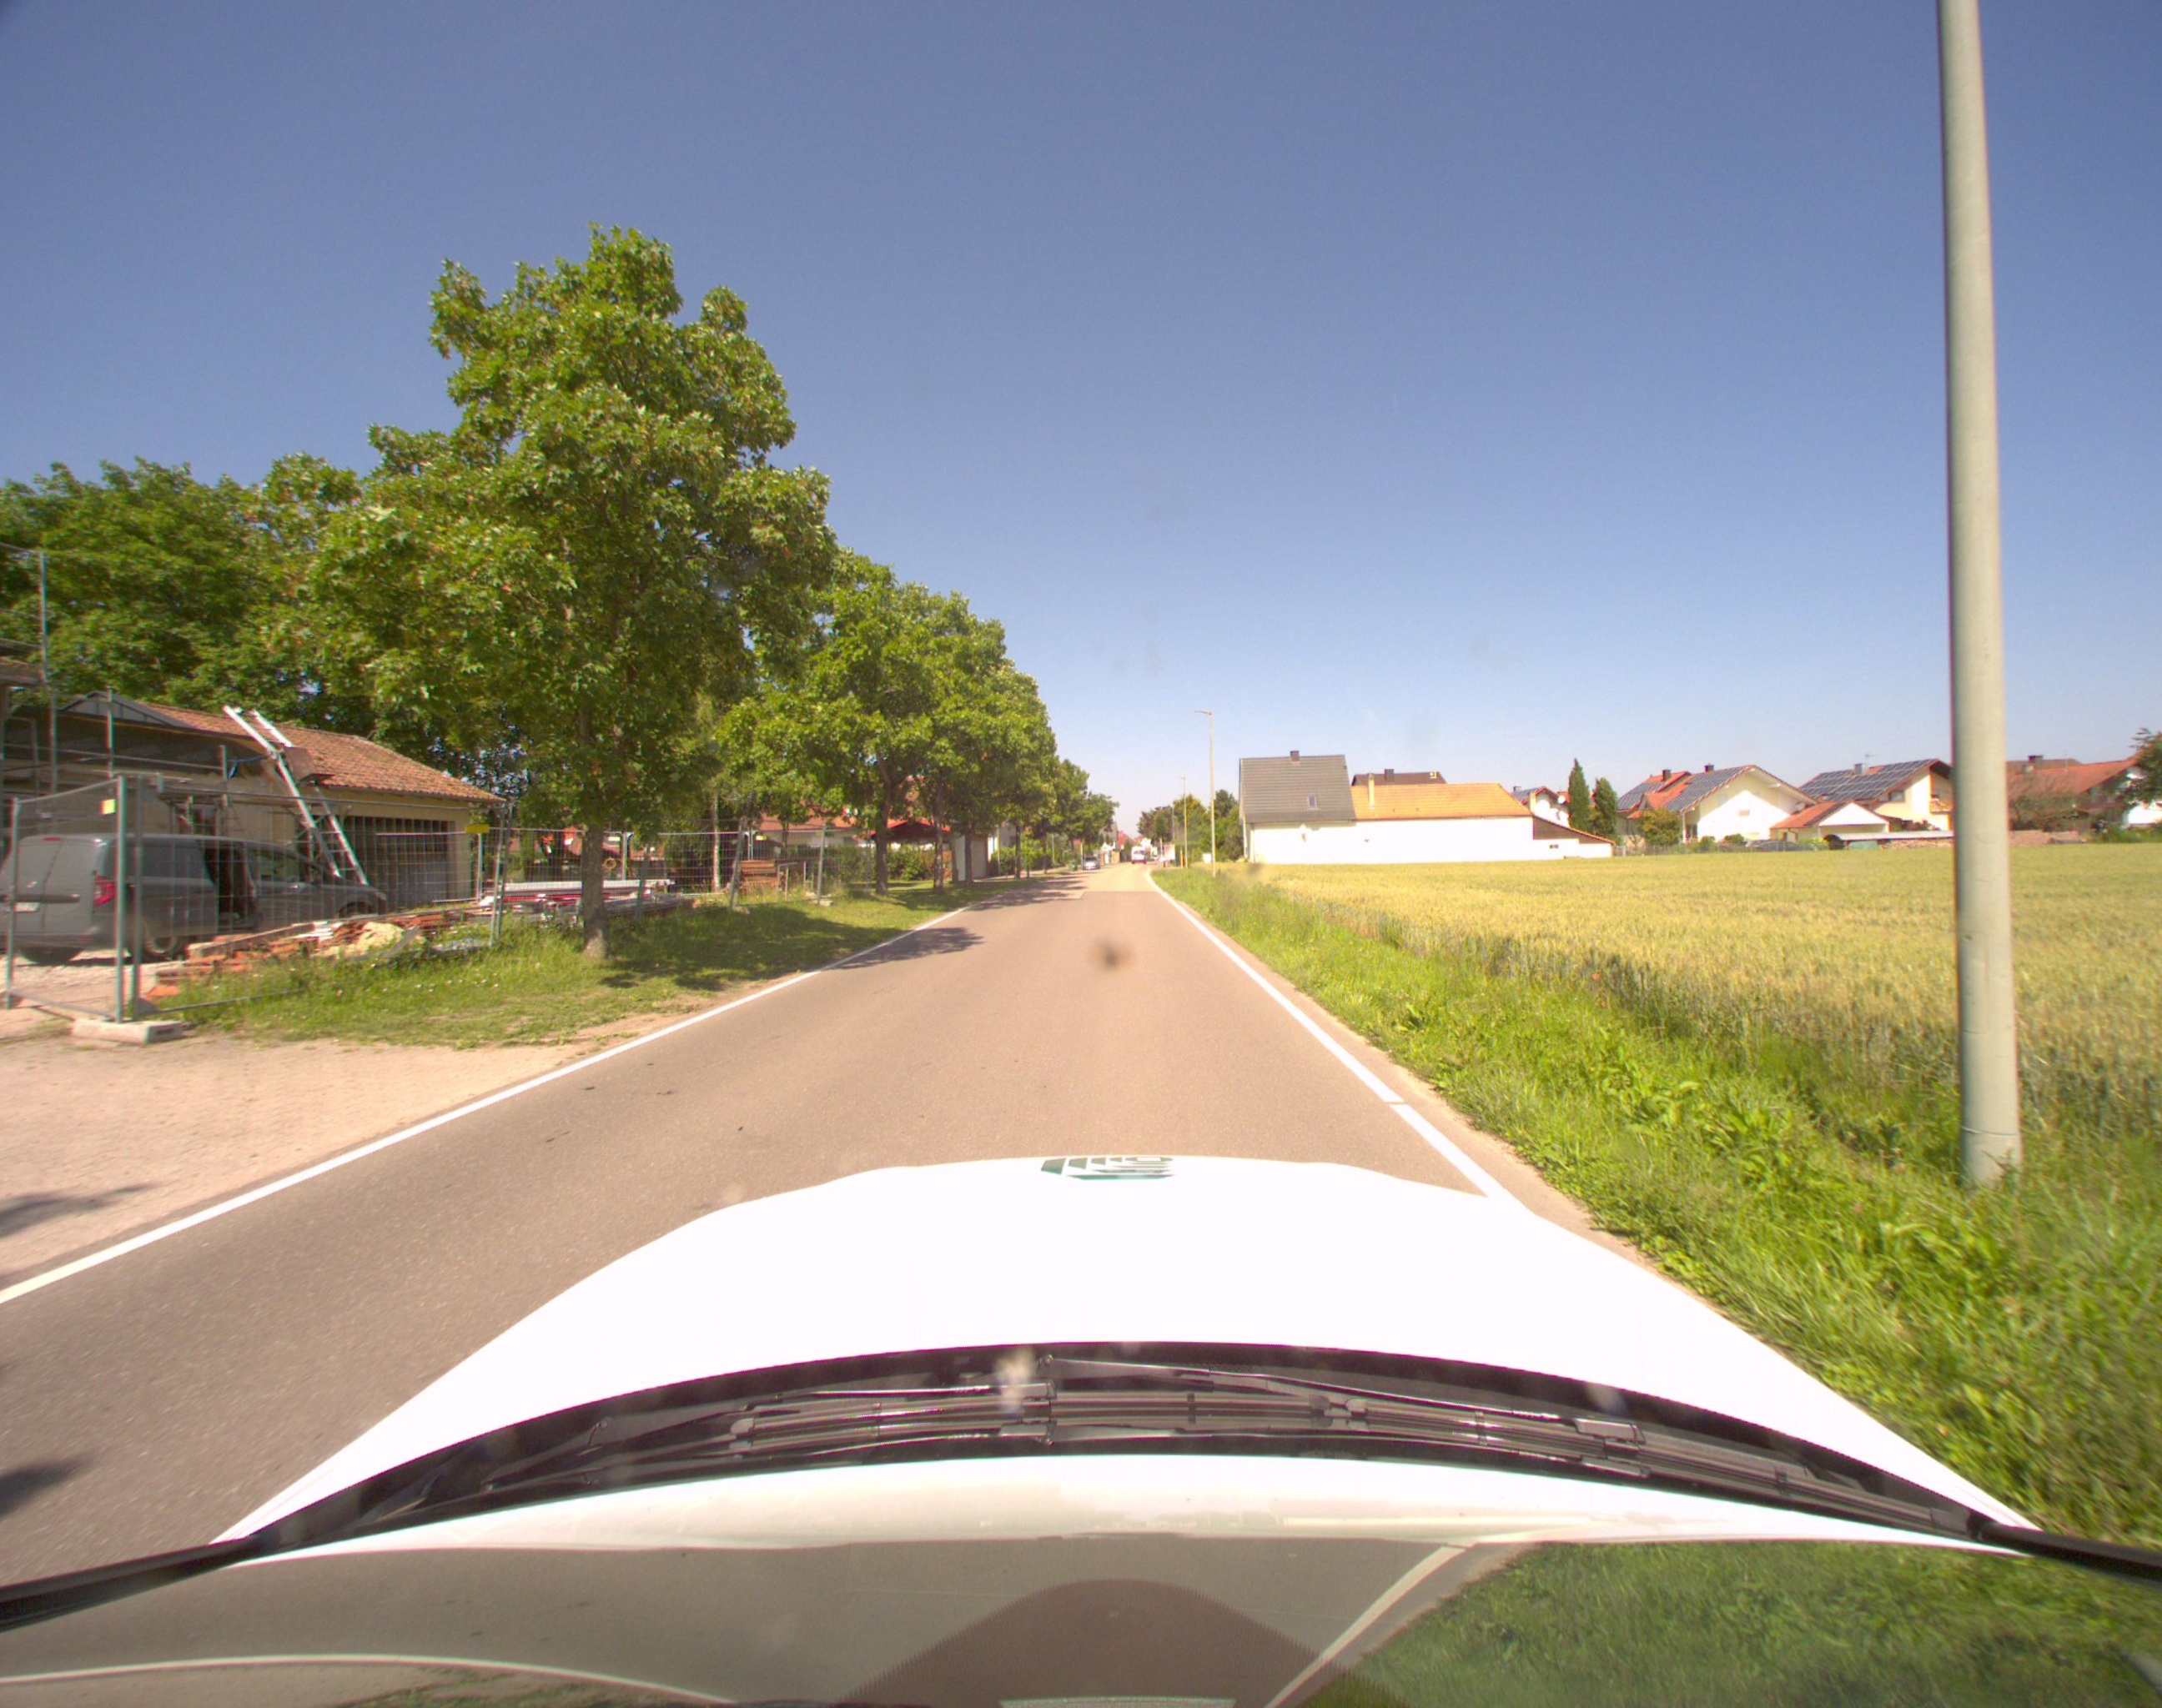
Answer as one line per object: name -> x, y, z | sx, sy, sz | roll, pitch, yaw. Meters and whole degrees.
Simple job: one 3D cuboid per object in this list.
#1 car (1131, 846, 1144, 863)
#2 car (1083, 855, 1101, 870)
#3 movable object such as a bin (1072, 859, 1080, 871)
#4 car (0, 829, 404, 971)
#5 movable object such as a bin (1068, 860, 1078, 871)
car -> 8.380, 0.095, 119.779 | 1.729, 2.432, 4.380 | -2, 0, 5
car -> 1.152, 0.850, 86.120 | 1.640, 1.423, 4.083 | -4, 0, 3
movable object such as a bin -> -0.523, 1.096, 81.291 | 0.570, 1.079, 0.601 | -2, -1, 17
car -> -13.543, 0.612, 12.849 | 1.963, 1.838, 4.331 | -1, 0, 2
movable object such as a bin -> -0.805, 1.126, 80.526 | 0.706, 1.079, 0.644 | -2, -1, 30
